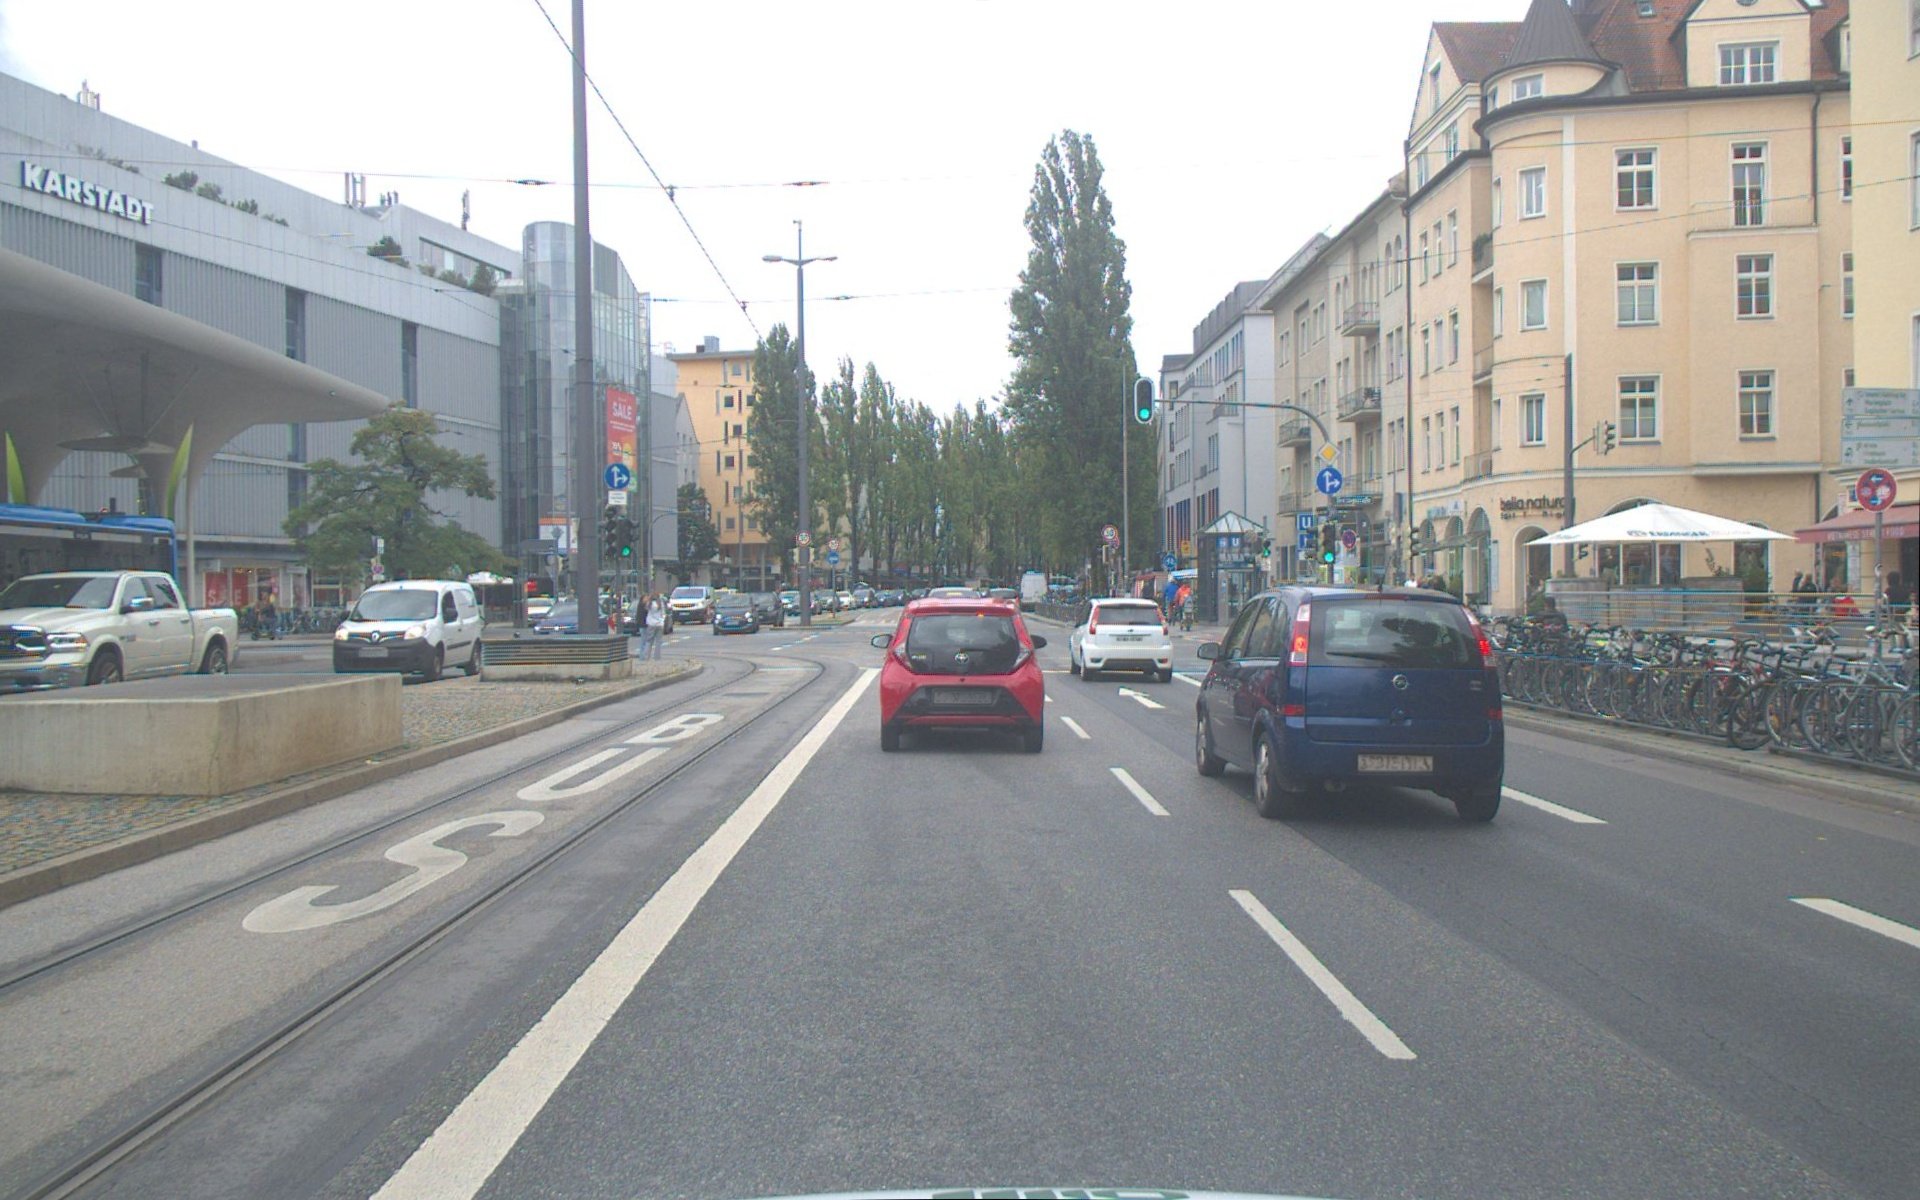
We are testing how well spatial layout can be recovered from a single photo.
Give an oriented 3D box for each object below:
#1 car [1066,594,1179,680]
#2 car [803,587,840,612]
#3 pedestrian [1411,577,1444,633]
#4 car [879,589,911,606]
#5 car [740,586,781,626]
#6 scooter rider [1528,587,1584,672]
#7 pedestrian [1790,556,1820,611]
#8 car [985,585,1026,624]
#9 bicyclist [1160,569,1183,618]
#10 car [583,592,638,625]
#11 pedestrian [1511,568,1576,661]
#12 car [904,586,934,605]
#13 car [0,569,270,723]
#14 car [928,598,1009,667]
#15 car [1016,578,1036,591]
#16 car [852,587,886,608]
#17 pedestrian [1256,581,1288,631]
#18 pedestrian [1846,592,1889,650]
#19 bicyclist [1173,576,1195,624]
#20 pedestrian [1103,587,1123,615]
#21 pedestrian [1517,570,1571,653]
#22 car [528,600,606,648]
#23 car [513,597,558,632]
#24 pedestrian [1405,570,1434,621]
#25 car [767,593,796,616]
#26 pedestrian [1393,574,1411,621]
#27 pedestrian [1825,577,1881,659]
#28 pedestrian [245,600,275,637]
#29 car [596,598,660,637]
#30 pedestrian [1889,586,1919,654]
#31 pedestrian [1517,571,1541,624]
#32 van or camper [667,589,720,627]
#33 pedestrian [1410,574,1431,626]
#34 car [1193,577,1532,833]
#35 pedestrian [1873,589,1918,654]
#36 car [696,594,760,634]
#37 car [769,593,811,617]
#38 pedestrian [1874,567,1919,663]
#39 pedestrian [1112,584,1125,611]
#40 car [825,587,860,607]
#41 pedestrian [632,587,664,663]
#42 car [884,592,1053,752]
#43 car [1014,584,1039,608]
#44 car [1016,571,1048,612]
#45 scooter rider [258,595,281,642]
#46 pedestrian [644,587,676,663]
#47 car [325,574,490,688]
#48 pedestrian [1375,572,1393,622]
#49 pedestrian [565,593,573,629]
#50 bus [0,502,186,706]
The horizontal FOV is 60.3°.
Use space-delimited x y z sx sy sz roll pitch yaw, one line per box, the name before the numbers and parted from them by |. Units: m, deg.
car | 2.950 0.642 30.598 1.665 1.451 3.496 -1 0 -1
car | -9.744 -0.040 116.770 1.706 1.699 4.736 -1 1 6
pedestrian | 15.430 0.158 54.603 0.914 1.786 1.066 -1 0 8
car | -5.886 -0.236 150.777 1.951 1.561 4.591 -1 0 9
car | -8.198 0.232 67.841 1.476 1.561 2.831 -1 0 -10
scooter rider | 10.157 0.496 28.187 0.686 1.413 0.643 -1 0 -2
pedestrian | 27.600 -0.547 54.026 0.666 1.734 0.748 -1 3 9
car | 2.296 0.215 84.601 1.953 1.870 4.000 -1 0 -1
bicyclist | 8.298 -0.272 65.002 0.747 1.902 1.133 -1 0 0
car | -18.048 0.416 85.507 1.862 1.570 4.393 -1 1 0
pedestrian | 11.414 0.274 32.369 0.867 1.773 0.854 -1 0 -17
car | -3.962 -0.432 160.908 1.951 1.721 4.925 -1 0 10
car | -12.224 0.581 23.879 2.131 1.920 6.153 -1 0 -2
car | 0.183 0.787 42.283 1.953 1.646 3.999 -1 0 -1
car | 9.297 -2.191 232.472 1.951 1.721 4.418 -1 1 12
car | -7.476 -0.220 136.303 1.895 1.769 4.592 0 1 8
pedestrian | 10.803 0.212 57.279 0.820 1.720 0.816 -1 0 37
pedestrian | 19.115 0.431 34.856 0.504 1.202 0.703 -1 0 -2
bicyclist | 8.014 0.007 59.171 0.601 1.686 1.251 -1 0 0
pedestrian | 8.551 0.037 92.628 0.786 1.548 0.806 -1 0 42
pedestrian | 12.440 0.239 35.243 0.749 1.725 0.761 -1 0 -26
car | -12.628 0.738 53.338 1.644 1.420 4.231 -2 0 -2
car | -20.882 0.677 81.438 1.959 1.562 4.400 -2 1 -13
pedestrian | 16.198 -0.172 58.317 0.637 1.734 0.726 -3 4 -30
car | -12.735 0.314 118.314 1.664 1.624 3.999 -1 0 -1
pedestrian | 15.649 -0.096 58.551 0.548 1.637 0.568 -1 3 12
pedestrian | 16.057 0.322 29.742 0.662 1.447 0.616 -1 0 -1
pedestrian | -30.861 0.797 72.883 0.780 1.608 0.978 -1 0 11
car | -13.115 0.666 65.483 1.806 1.441 4.034 -1 0 -2
pedestrian | 18.799 0.392 32.758 0.468 1.322 0.527 -1 0 -2
pedestrian | 19.085 -0.080 55.483 0.667 1.714 0.746 0 4 27
van or camper | -13.492 0.376 84.026 1.889 1.857 5.440 -1 0 -1
pedestrian | 15.969 -0.004 57.366 0.635 1.781 0.637 0 3 22
car | 2.905 0.684 12.679 1.668 1.617 3.556 2 0 0
pedestrian | 19.235 0.441 34.005 0.504 1.314 0.703 -1 0 -2
car | -8.821 0.518 62.680 1.525 1.471 3.513 -1 0 -23
car | -10.900 0.291 106.160 1.952 1.436 4.170 -1 0 4
pedestrian | 16.558 0.256 29.059 0.602 1.661 0.677 -1 0 -1
pedestrian | 10.506 -0.191 109.649 0.774 1.758 0.764 -1 0 -1
car | -8.901 -0.219 126.085 1.727 1.446 4.643 -2 0 7
pedestrian | -6.862 0.536 36.389 0.482 1.646 0.551 -1 0 -35
car | 0.094 0.662 17.026 1.572 1.487 3.130 0 0 0
car | 4.891 -0.312 122.522 1.668 1.691 3.556 0 0 0
car | 5.043 -0.614 116.303 2.063 2.766 4.804 -1 0 0
scooter rider | -27.942 0.739 66.915 0.651 1.867 0.620 -1 0 1
pedestrian | -6.551 0.542 36.139 0.513 1.646 0.461 -1 0 43
car | -10.032 0.522 30.358 1.750 1.887 4.216 -2 0 -3
pedestrian | 14.975 -0.109 58.429 0.554 1.699 0.562 0 3 22
pedestrian | -19.798 0.542 83.807 0.348 1.790 0.445 -1 0 -11
bus | -15.710 0.102 26.975 2.606 3.060 7.512 -3 0 -1
